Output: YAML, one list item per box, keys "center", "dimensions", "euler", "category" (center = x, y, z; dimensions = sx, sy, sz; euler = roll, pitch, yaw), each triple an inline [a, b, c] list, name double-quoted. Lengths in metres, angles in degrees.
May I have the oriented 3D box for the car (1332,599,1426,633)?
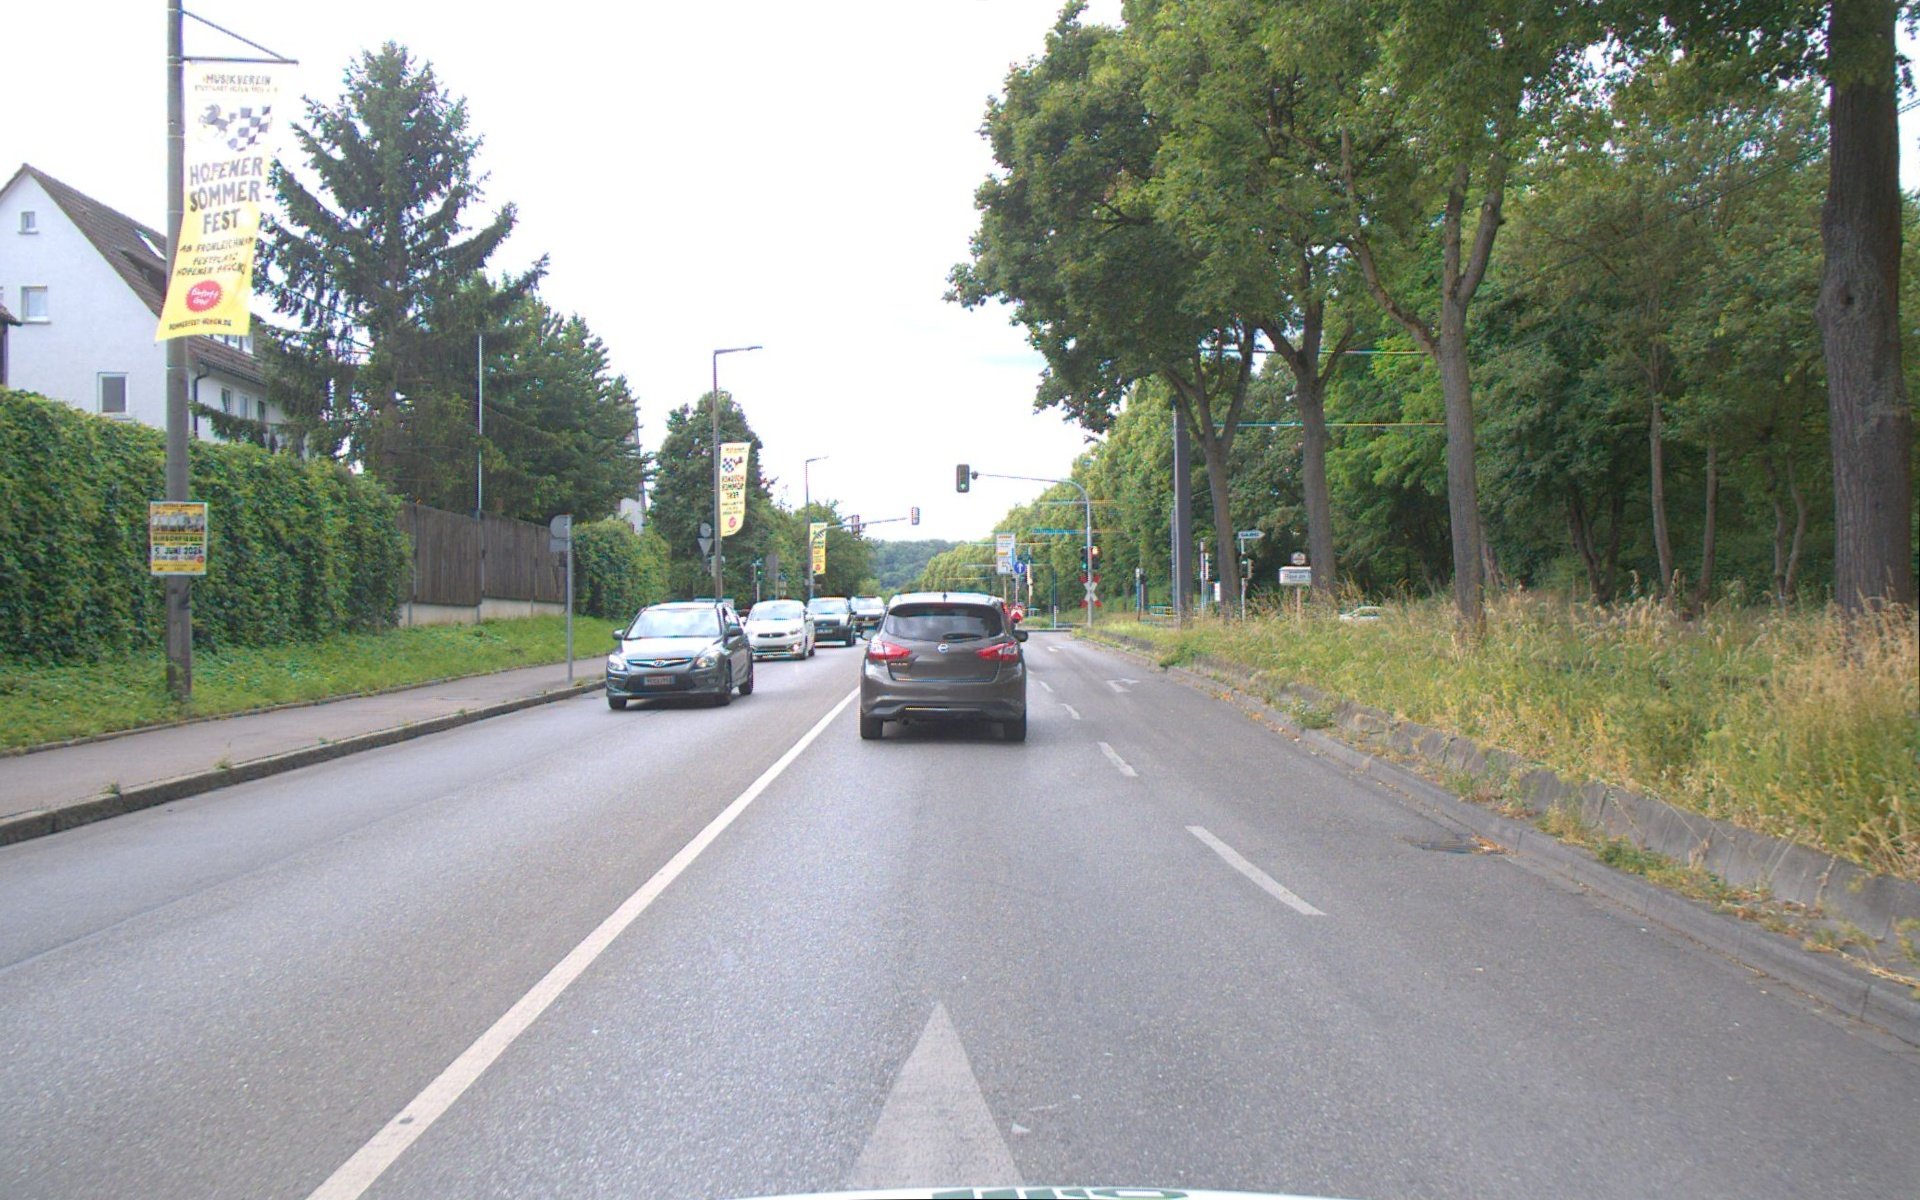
- center: [20.247, 0.764, 79.970]
  dimensions: [3.910, 1.377, 1.998]
  euler: [3, 0, -6]
  category: "car"

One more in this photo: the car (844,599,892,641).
- center: [-3.677, 0.791, 66.695]
  dimensions: [1.776, 1.550, 4.176]
  euler: [-2, 0, -2]
  category: "car"

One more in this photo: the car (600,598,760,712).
- center: [-4.130, 0.759, 25.006]
  dimensions: [1.693, 1.490, 4.153]
  euler: [-2, 0, -1]
  category: "car"

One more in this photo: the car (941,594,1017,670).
- center: [0.379, 0.628, 34.793]
  dimensions: [1.507, 1.504, 3.764]
  euler: [-1, 0, 0]
  category: "car"

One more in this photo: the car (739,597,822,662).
- center: [-4.603, 0.731, 42.816]
  dimensions: [1.585, 1.486, 4.072]
  euler: [-4, 0, 1]
  category: "car"

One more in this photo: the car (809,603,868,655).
- center: [-3.846, 0.882, 52.808]
  dimensions: [1.610, 1.507, 4.106]
  euler: [-2, 0, -1]
  category: "car"

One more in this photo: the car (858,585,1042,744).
- center: [-0.093, 0.633, 18.672]
  dimensions: [1.797, 1.545, 4.482]
  euler: [1, 0, 0]
  category: "car"
